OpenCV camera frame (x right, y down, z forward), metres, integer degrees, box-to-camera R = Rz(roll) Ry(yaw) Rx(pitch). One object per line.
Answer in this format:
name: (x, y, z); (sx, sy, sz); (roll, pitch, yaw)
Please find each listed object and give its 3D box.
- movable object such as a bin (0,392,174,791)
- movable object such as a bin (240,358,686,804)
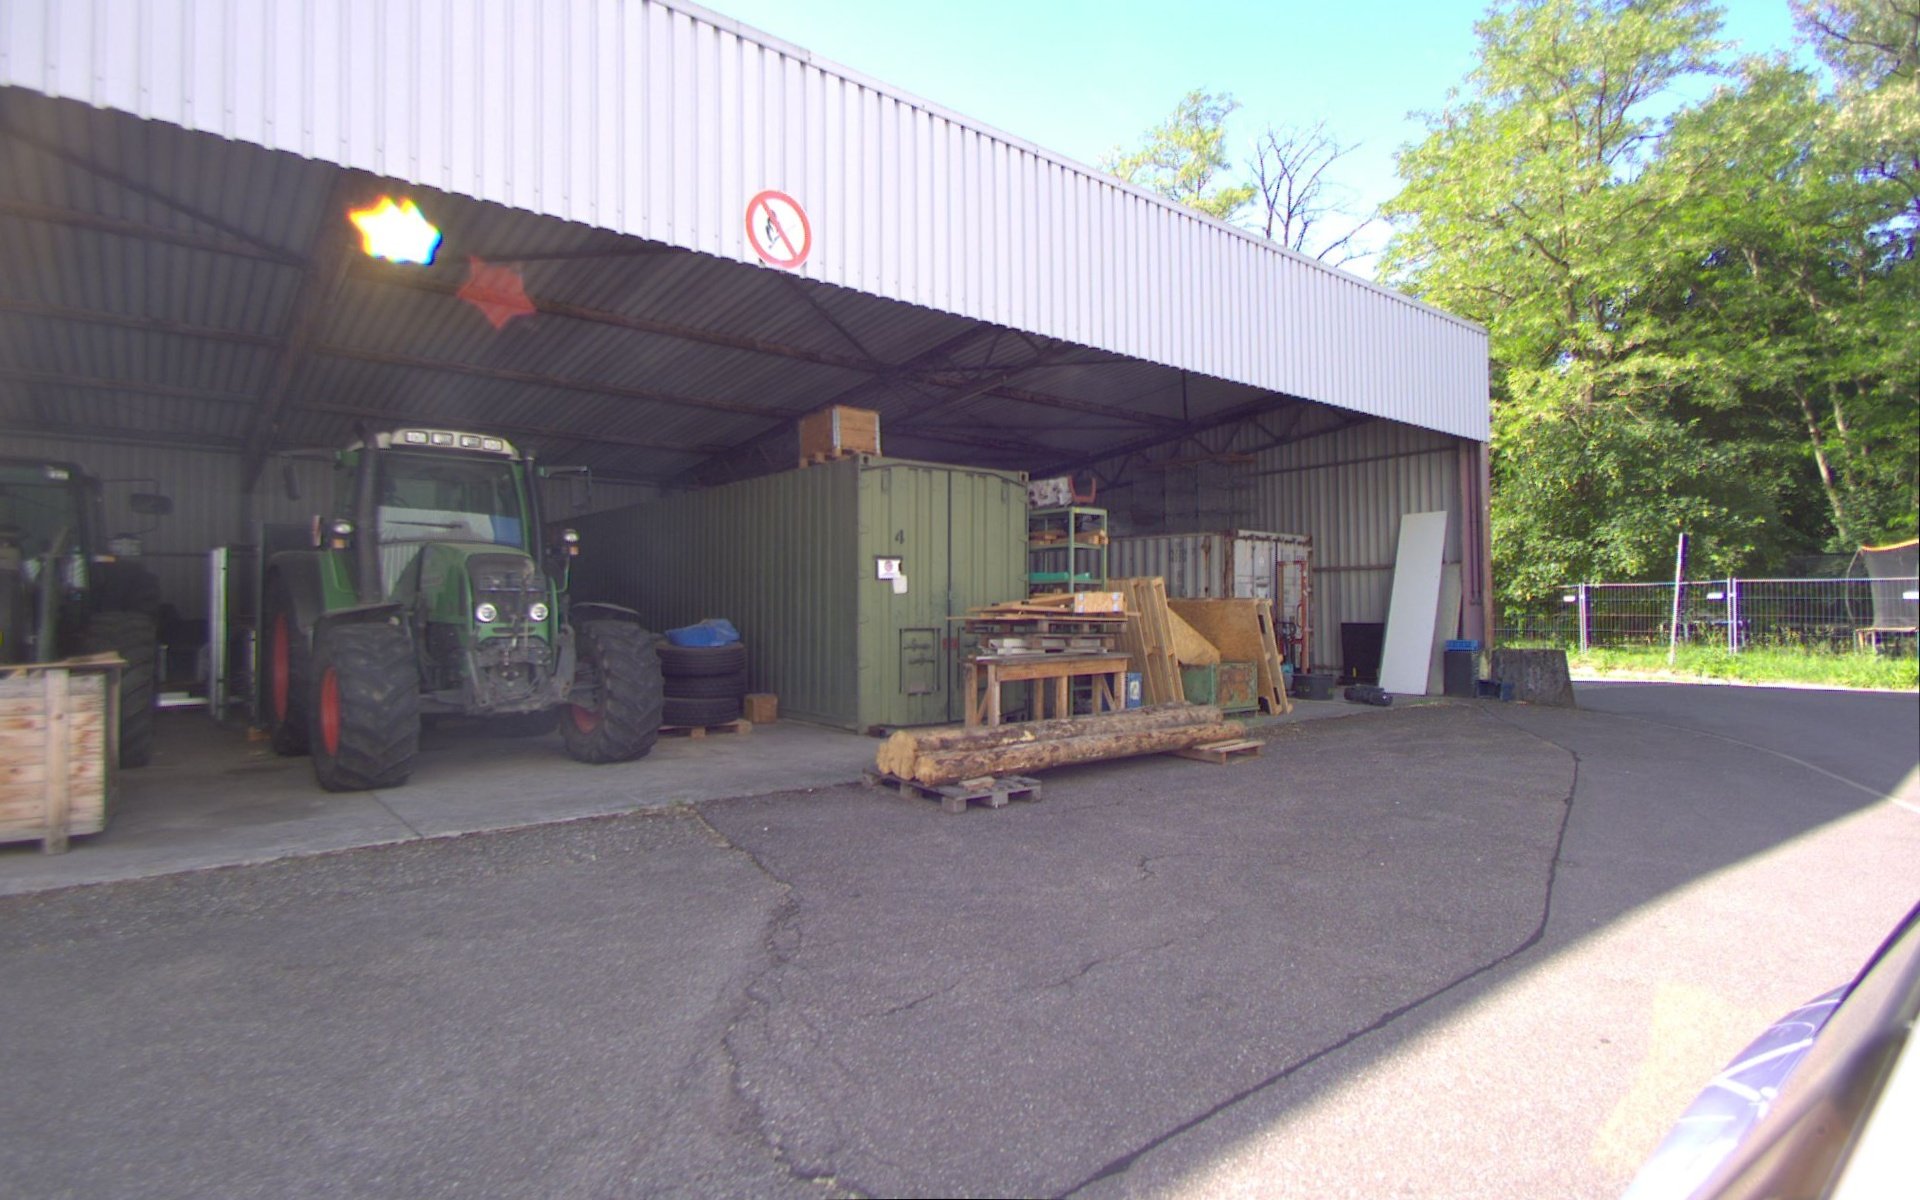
movable object such as a bin: (-8.482, -0.044, 8.886); (2.452, 2.867, 4.537); (1, -1, -38)
movable object such as a bin: (-5.169, -0.105, 9.892); (2.769, 2.962, 5.847); (0, -1, -38)
